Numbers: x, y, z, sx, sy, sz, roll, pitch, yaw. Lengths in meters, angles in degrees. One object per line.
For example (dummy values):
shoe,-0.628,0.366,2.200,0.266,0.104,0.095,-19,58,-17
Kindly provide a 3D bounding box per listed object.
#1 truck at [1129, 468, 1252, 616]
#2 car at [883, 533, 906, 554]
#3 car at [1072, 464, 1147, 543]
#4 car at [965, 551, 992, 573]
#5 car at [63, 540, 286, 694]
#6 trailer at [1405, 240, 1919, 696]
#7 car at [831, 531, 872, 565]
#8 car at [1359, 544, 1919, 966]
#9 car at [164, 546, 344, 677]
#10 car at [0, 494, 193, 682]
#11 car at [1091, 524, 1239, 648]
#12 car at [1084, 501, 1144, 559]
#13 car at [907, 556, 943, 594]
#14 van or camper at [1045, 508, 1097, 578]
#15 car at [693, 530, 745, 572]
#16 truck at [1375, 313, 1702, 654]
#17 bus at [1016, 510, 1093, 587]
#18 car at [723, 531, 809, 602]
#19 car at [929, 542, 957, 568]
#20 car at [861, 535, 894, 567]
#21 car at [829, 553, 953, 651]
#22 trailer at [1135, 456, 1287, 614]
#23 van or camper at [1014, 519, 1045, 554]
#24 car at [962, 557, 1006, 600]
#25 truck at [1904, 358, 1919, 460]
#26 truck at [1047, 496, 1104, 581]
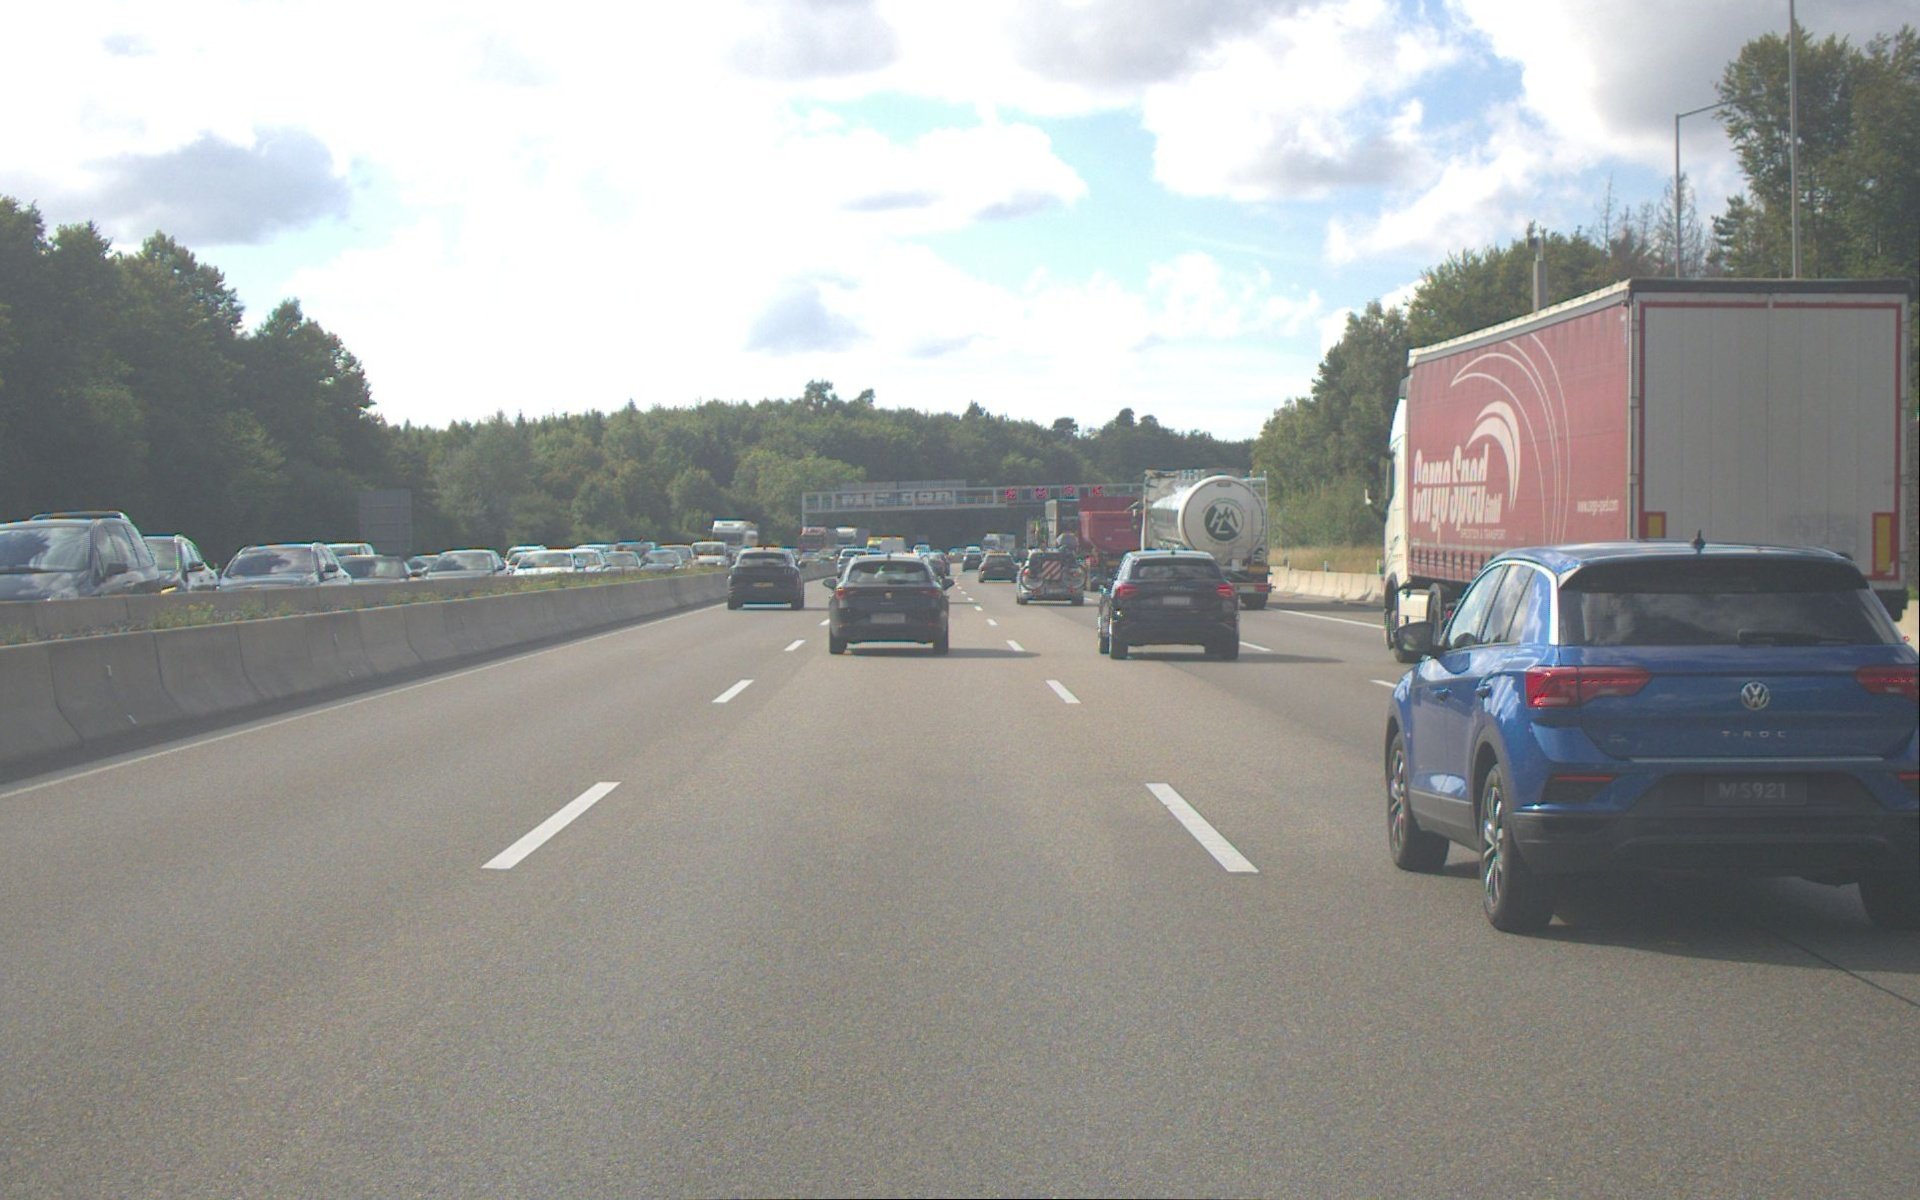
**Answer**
truck,6.673,-1.631,100.403,3.045,4.146,7.127,0,0,-1
car,-4.925,-4.262,260.406,1.623,1.465,3.814,1,0,0
car,6.055,-3.897,140.112,2.866,2.981,5.149,1,-1,1
car,1.395,-2.884,259.745,1.993,1.612,4.000,0,1,-1
car,-10.843,0.260,47.797,1.993,2.007,4.547,1,-1,1
trailer,7.378,-1.068,37.455,3.038,4.021,13.890,1,-1,-1
car,-6.059,-2.911,192.308,2.154,1.770,4.000,1,0,0
car,2.976,0.537,14.990,1.924,1.536,4.645,1,1,0
car,-11.256,0.207,55.081,1.993,2.007,4.000,1,-1,1
car,-10.264,-0.102,39.356,1.993,2.007,4.677,1,-1,-1
car,2.846,-0.185,48.488,1.799,1.639,4.000,1,0,0
car,5.805,-2.627,129.860,1.993,2.007,4.000,1,-1,-1
car,-1.980,-1.388,193.620,1.993,2.007,4.000,-1,-1,-1
van or camper,5.347,-2.718,165.824,2.351,3.133,5.710,1,-1,1
car,-11.462,-2.327,163.662,1.993,1.858,4.549,1,-1,2
truck,7.294,-1.349,44.214,3.080,4.050,6.069,1,-1,-1
bus,2.613,-1.415,95.912,1.993,2.007,4.000,1,-1,0
car,-4.998,-0.881,89.070,1.993,1.770,4.000,-1,1,0
car,-1.046,-2.849,216.437,1.675,1.587,3.628,-1,1,1
car,-5.290,-3.158,220.469,1.993,2.007,4.001,1,1,-3
car,-0.992,0.032,50.670,1.734,1.360,4.000,1,0,0
trailer,6.749,-1.640,94.181,3.036,4.002,12.245,0,0,-1
van or camper,4.991,-4.586,248.279,2.083,2.484,4.225,0,1,-1
car,1.158,-1.048,167.057,1.993,2.007,4.000,1,0,-1
truck,20.127,-3.804,67.290,2.146,2.007,4.000,-1,1,-1
truck,5.303,-2.780,159.349,2.358,3.560,11.265,1,-1,1
